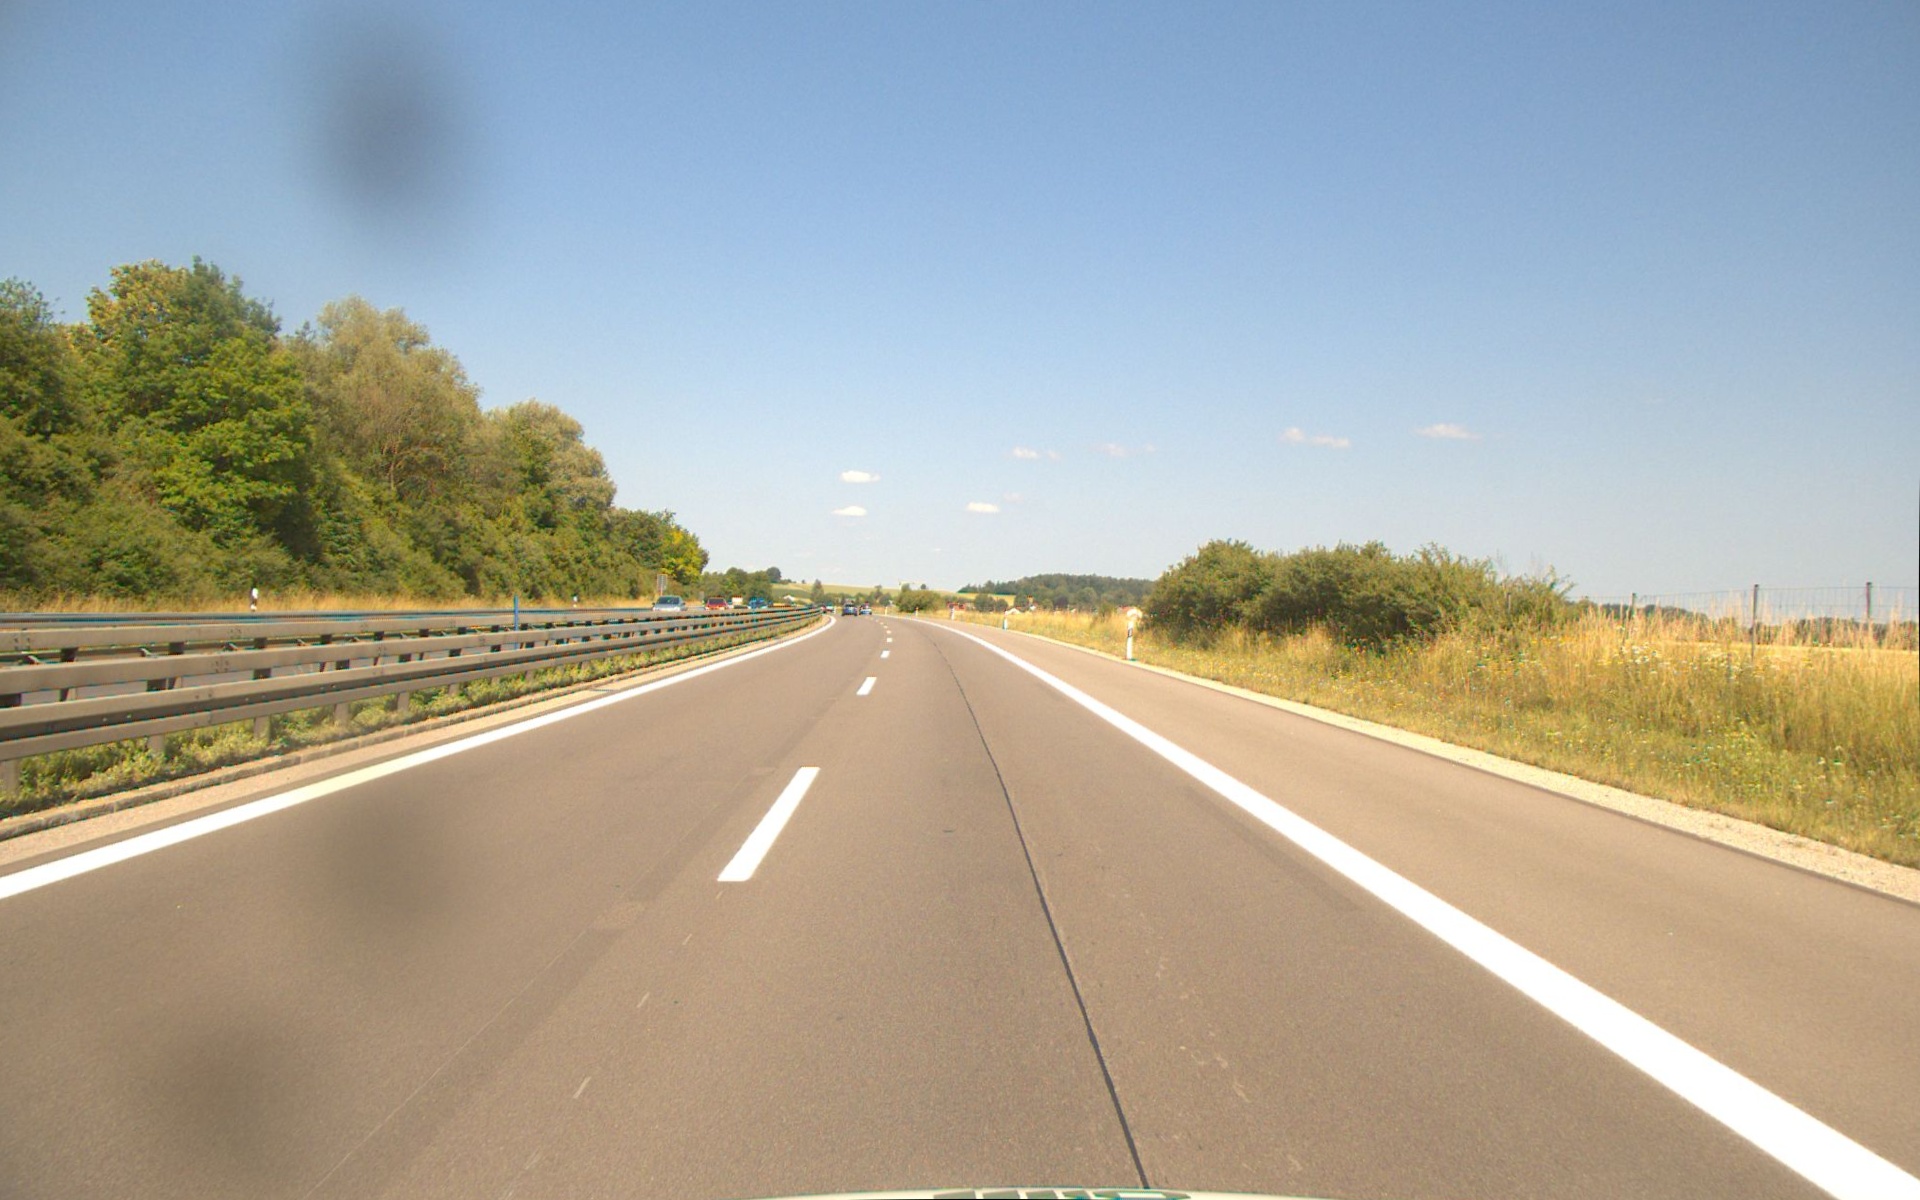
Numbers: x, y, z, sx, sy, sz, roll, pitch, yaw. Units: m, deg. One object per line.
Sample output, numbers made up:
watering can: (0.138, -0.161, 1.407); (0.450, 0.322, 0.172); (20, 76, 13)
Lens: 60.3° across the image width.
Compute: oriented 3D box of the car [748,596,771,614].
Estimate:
car: (-17.221, 0.410, 142.267); (1.616, 1.519, 4.536); (1, 0, -3)

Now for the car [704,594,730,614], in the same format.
car: (-19.762, 0.322, 134.480); (1.616, 1.519, 4.536); (1, 0, -3)

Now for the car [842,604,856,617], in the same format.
car: (-12.975, 1.176, 193.773); (1.643, 1.479, 3.589); (1, 0, -4)

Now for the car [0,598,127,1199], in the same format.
car: (-2.719, 0.718, 0.709); (1.810, 1.458, 5.864); (1, 0, -1)

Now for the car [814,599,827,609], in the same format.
car: (-22.077, 0.672, 261.601); (1.792, 1.479, 3.590); (1, 0, -2)

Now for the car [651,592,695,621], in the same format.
car: (-17.415, 0.385, 100.534); (1.953, 1.640, 4.635); (1, 0, -2)

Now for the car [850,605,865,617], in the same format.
car: (-13.406, 1.441, 216.138); (1.644, 1.479, 3.586); (1, 0, -7)
